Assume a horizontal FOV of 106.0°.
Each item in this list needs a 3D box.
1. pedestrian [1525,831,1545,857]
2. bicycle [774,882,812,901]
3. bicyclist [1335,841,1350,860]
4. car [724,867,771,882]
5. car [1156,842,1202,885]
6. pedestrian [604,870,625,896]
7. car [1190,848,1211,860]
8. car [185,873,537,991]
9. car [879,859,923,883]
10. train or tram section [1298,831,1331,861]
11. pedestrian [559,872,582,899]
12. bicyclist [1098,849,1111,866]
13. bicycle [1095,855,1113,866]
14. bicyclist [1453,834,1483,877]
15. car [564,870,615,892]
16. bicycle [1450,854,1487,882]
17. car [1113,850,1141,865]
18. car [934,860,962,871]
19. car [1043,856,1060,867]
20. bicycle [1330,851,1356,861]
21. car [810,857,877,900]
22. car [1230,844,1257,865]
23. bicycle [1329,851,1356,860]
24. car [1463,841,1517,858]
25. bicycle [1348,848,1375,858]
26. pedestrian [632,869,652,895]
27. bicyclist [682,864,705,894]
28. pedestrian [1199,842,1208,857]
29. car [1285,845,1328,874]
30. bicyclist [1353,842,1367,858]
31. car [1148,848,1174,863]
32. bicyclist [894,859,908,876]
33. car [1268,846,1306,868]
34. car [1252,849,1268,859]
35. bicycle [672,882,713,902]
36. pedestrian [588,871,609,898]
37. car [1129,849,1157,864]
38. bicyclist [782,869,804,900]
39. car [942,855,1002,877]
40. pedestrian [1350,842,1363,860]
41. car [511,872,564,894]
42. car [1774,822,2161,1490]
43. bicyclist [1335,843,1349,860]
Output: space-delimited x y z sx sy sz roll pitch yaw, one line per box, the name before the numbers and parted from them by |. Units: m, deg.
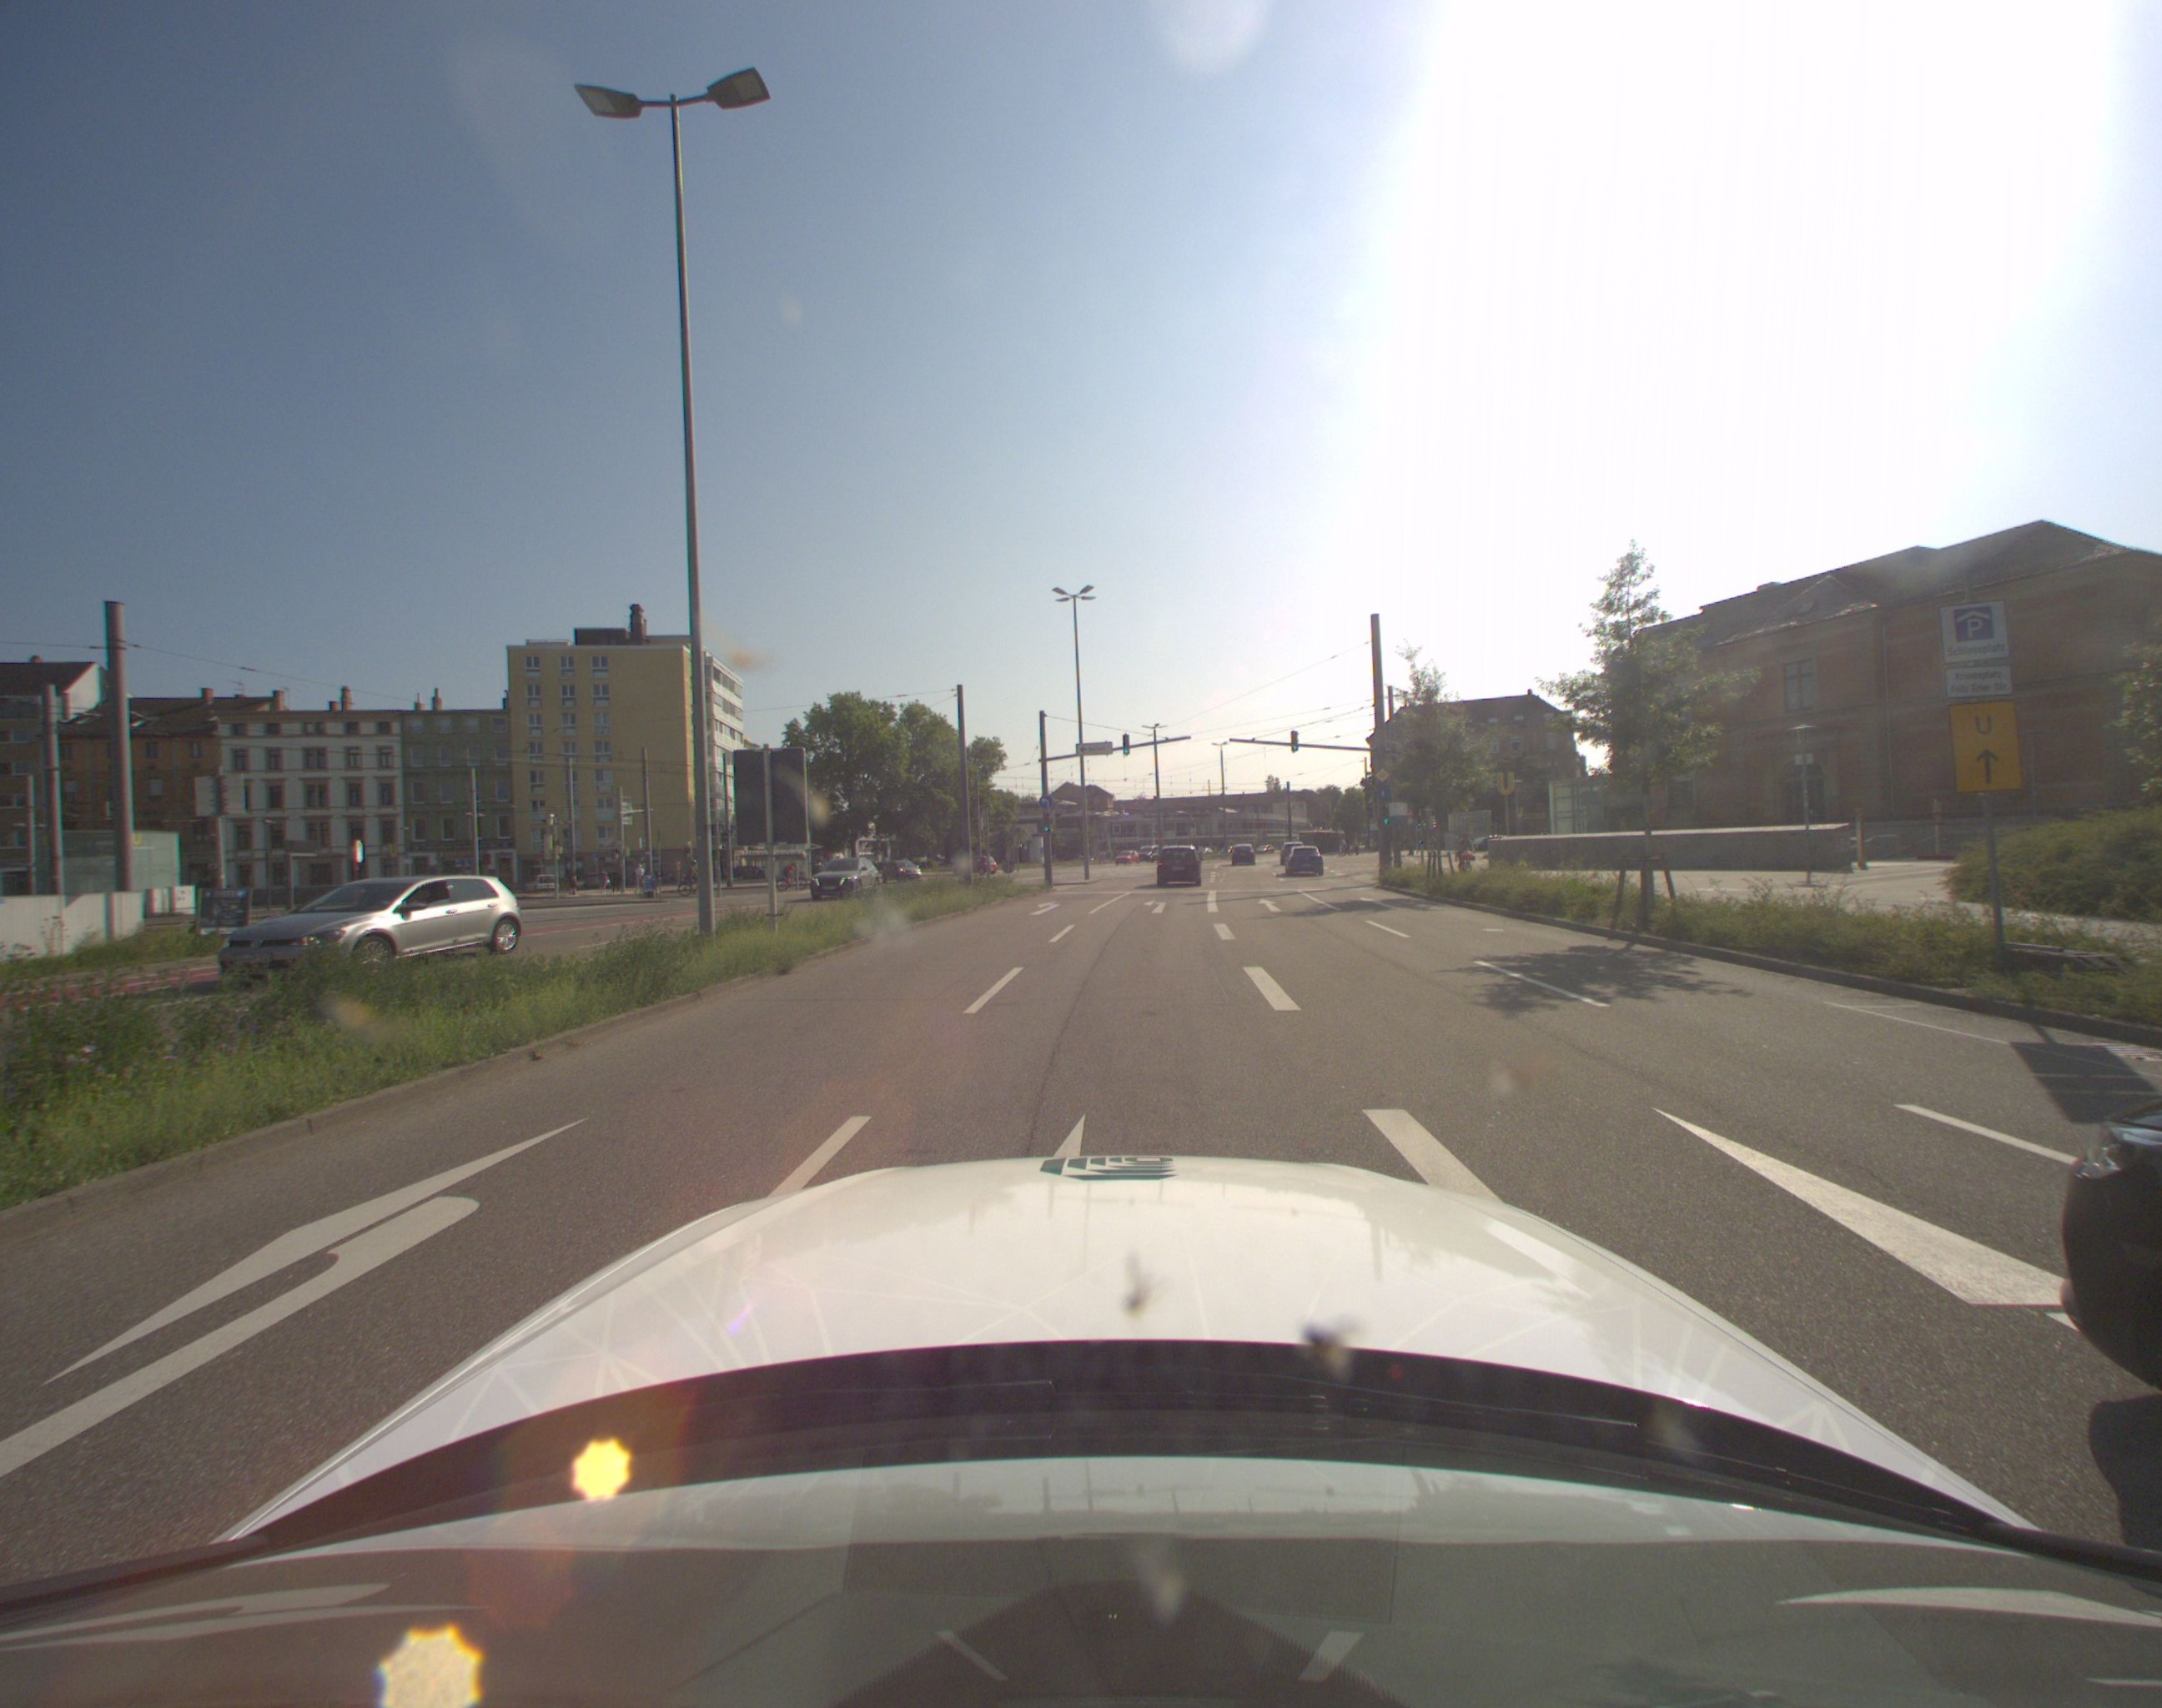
pedestrian | 30.174 -0.659 54.123 0.911 1.690 0.842 -2 0 45
bicycle | -15.954 2.064 45.145 1.809 0.932 0.725 -2 0 -4
bicyclist | 27.439 -0.354 85.561 0.940 2.024 1.082 -2 0 -29
car | -33.887 2.030 82.811 4.158 1.354 1.476 -2 0 -11
car | 4.198 0.385 35.304 1.816 1.714 4.420 -1 0 6
pedestrian | -30.934 1.902 53.987 0.922 1.690 0.919 -2 0 -10
car | 16.325 -0.010 111.066 1.600 1.475 4.023 -4 -1 24
car | -11.189 1.104 13.168 1.807 1.433 4.226 -2 0 2
car | -11.742 1.102 53.114 1.899 1.451 3.642 -2 0 -27
train or tram section | 30.953 -1.081 107.658 2.631 3.699 10.648 -3 0 23
pedestrian | -33.198 2.014 52.970 0.922 1.690 0.919 -2 0 -10
bicyclist | 2.518 0.372 88.278 0.949 1.748 1.173 -2 0 24
bicycle | 2.538 0.688 88.302 0.949 1.057 2.623 -2 0 24
bicyclist | 14.191 0.061 29.867 0.715 1.513 1.007 -2 0 10
car | -41.246 2.289 68.301 4.491 1.678 2.013 -2 0 36
bicycle | 14.223 0.496 29.943 0.715 0.959 1.927 -2 0 10
car | 4.985 0.347 87.418 1.600 1.475 4.022 -4 -1 23
car | -21.466 1.831 131.674 1.683 1.522 4.544 -2 0 39
car | -4.570 1.191 128.151 1.688 1.522 4.113 -2 0 12
bicycle | 27.500 0.188 85.578 2.634 0.964 1.083 -2 0 -30
car | -9.773 0.960 33.899 1.690 1.617 4.455 -2 0 -4
car | 12.434 0.022 62.642 1.814 1.535 4.424 -3 0 9
bicycle | 28.206 0.162 87.785 2.624 0.964 1.087 -2 0 -17
car | 38.067 -0.441 75.733 4.388 1.397 2.010 -2 0 -20
bicycle | 30.700 -0.085 89.044 2.624 0.964 1.087 -2 0 -17
pedestrian | -29.160 1.831 54.104 0.922 1.690 0.919 -2 0 -10
bicyclist | -20.674 1.341 43.459 0.792 1.527 0.725 -2 0 -4
pedestrian | 12.910 -0.496 85.727 0.771 1.503 0.713 -2 0 18
car | 12.123 0.249 44.009 1.814 1.428 4.426 -3 0 11
bicyclist | 30.501 -0.445 88.983 0.936 1.680 1.087 -2 0 -16
car | 8.807 0.121 89.063 1.600 1.475 4.022 -4 -1 23
bicyclist | -17.385 1.274 78.509 1.161 1.527 0.958 -2 0 -7
car | 14.500 0.203 57.624 1.817 1.428 4.417 -3 0 4
car | 28.820 -0.041 130.985 1.600 1.475 4.023 -4 -1 24
bicycle | -20.729 2.036 43.454 1.809 0.932 0.725 -2 0 -4
pedestrian | -32.033 2.015 54.089 0.922 1.690 0.919 -2 0 -10
car | 7.251 0.262 94.593 1.943 1.475 4.022 -4 -1 23
bicyclist | -15.959 1.698 45.148 0.879 1.652 0.725 -2 0 -4
car | -8.677 0.951 64.852 4.356 1.535 1.842 -3 0 27
pedestrian | 29.309 -0.336 86.576 0.931 1.797 0.851 -2 0 -33
car | -45.750 2.435 68.545 4.491 1.678 2.013 -2 0 32
car | 3.256 0.674 0.657 1.677 1.492 4.371 0 0 0
bicyclist | 28.175 -0.259 87.779 0.936 1.800 1.087 -2 0 -16
